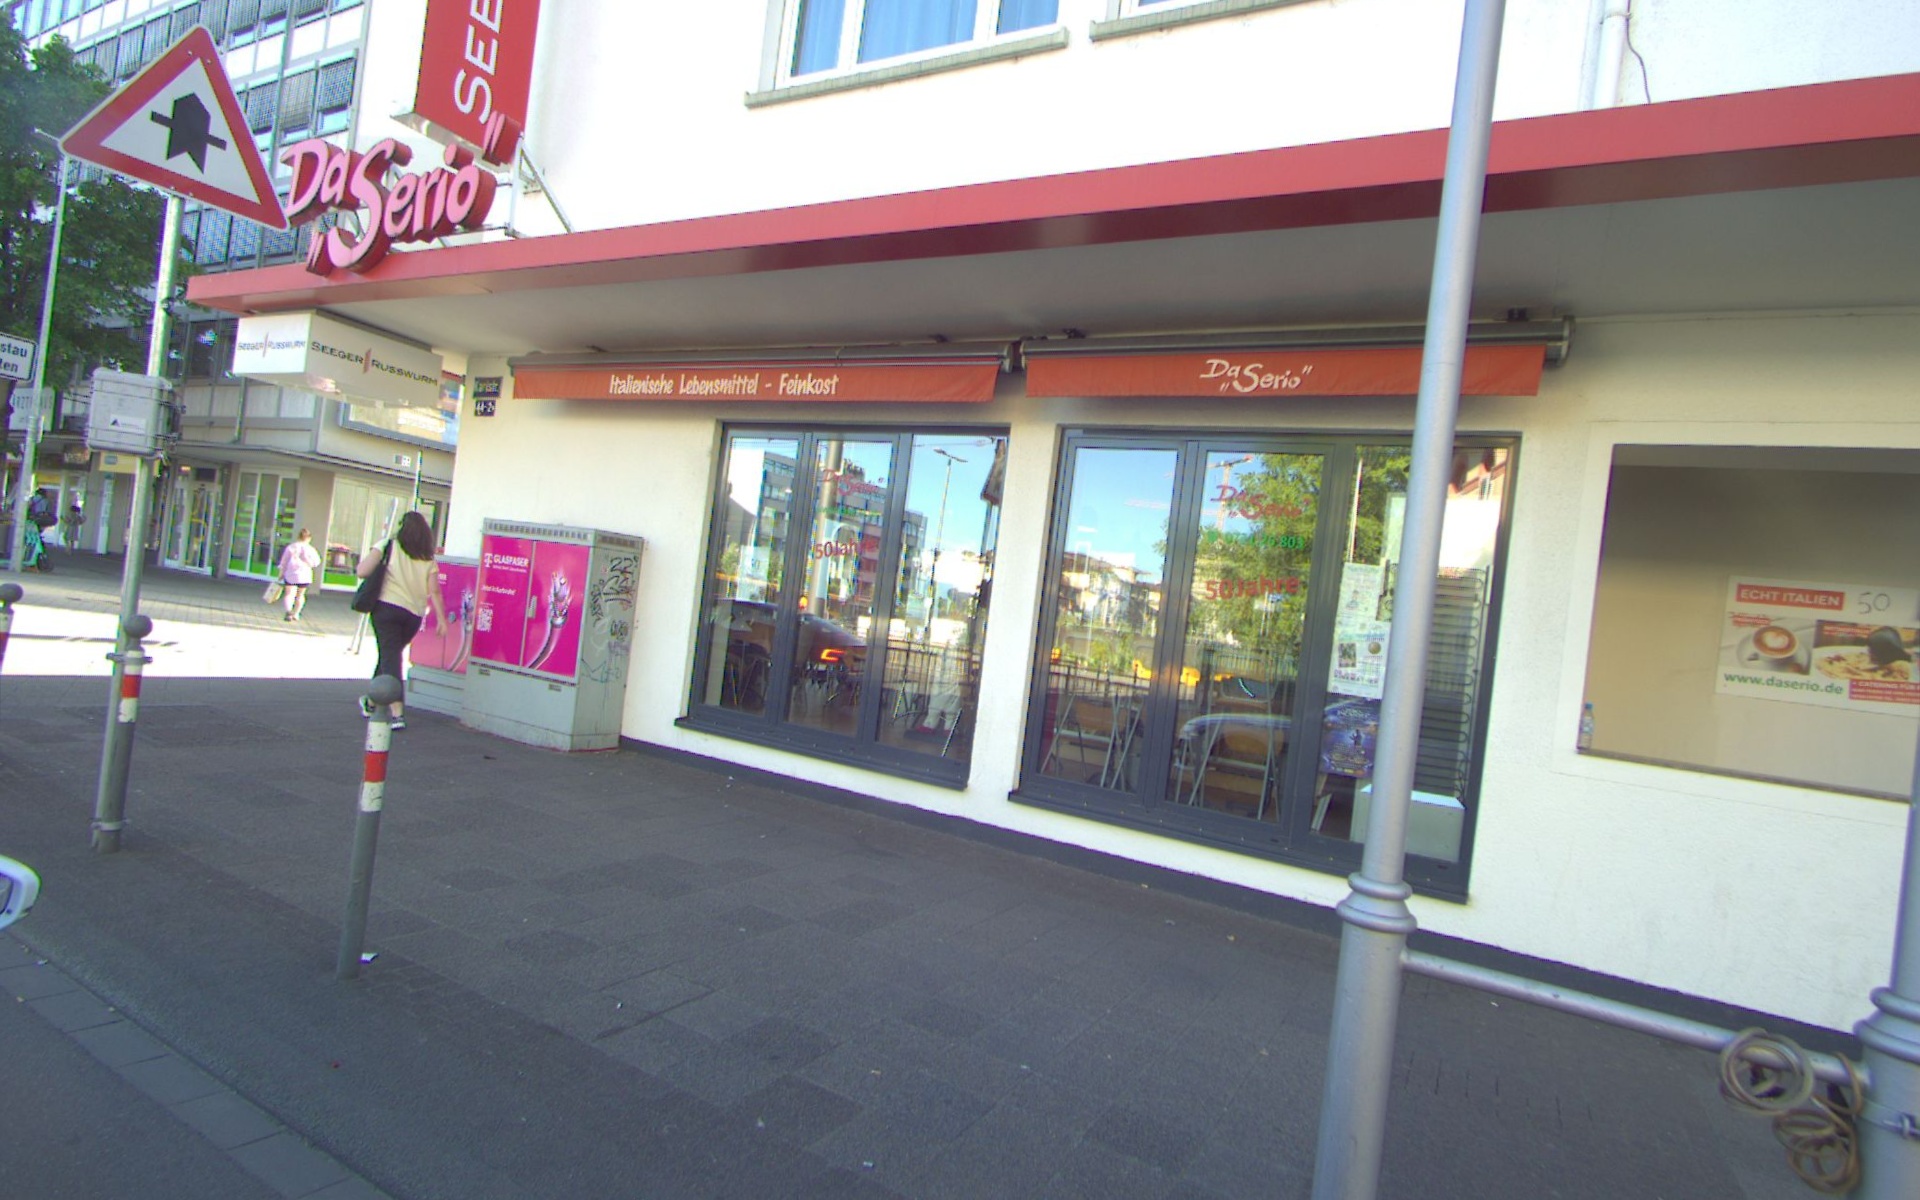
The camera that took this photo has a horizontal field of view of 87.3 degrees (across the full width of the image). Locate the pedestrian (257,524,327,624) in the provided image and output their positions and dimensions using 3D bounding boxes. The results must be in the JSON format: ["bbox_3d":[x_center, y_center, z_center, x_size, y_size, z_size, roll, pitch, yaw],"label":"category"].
[{"bbox_3d":[-12.237,-0.473,18.437,0.884,1.687,0.801,8,-1,-35],"label":"pedestrian"}]

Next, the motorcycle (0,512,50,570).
[{"bbox_3d":[-21.526,-1.390,22.379,0.532,1.186,1.711,7,-2,30],"label":"motorcycle"}]

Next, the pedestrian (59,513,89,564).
[{"bbox_3d":[-24.908,-1.721,28.292,0.504,1.359,0.390,6,-1,34],"label":"pedestrian"}]

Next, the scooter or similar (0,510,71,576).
[{"bbox_3d":[-19.946,-1.236,21.180,1.628,1.229,0.640,8,-1,-29],"label":"scooter or similar"}]

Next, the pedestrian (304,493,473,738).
[{"bbox_3d":[-4.584,0.121,8.047,0.909,1.773,1.029,7,0,-35],"label":"pedestrian"}]

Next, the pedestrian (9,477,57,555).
[{"bbox_3d":[-25.569,-2.314,27.744,0.570,2.037,0.663,6,-1,34],"label":"pedestrian"}]
